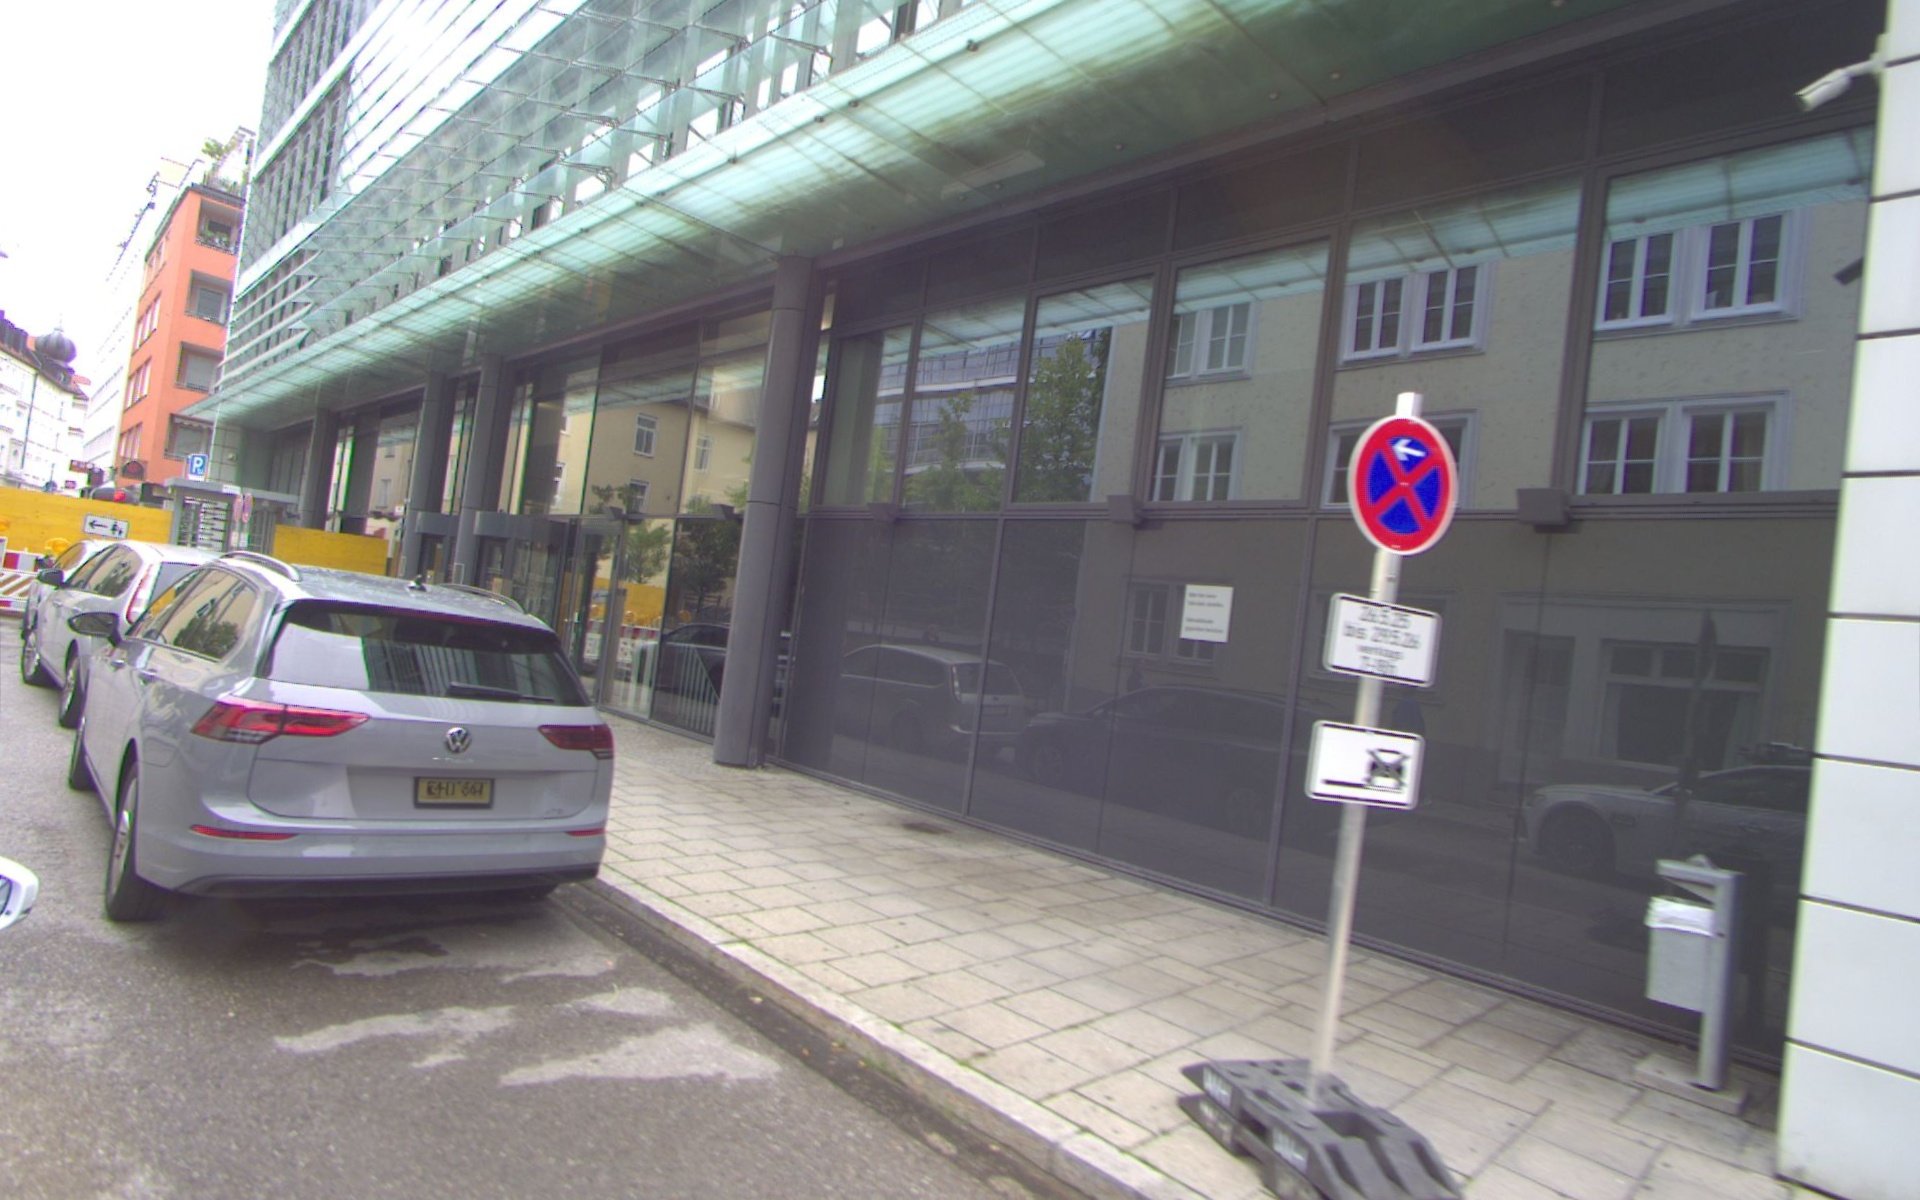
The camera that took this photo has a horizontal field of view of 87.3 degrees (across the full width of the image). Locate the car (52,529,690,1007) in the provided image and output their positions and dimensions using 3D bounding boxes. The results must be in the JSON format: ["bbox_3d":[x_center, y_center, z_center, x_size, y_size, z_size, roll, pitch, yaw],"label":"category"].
[{"bbox_3d":[-3.353,0.522,5.248,4.274,1.448,1.705,5,-3,45],"label":"car"}]

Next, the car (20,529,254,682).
[{"bbox_3d":[-10.493,-0.003,12.690,4.453,1.429,1.706,5,-5,45],"label":"car"}]

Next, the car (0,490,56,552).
[{"bbox_3d":[-46.218,-3.887,49.543,4.911,2.564,1.991,5,-3,45],"label":"car"}]

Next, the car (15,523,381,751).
[{"bbox_3d":[-6.966,0.240,9.023,4.180,1.483,1.707,5,-5,42],"label":"car"}]
